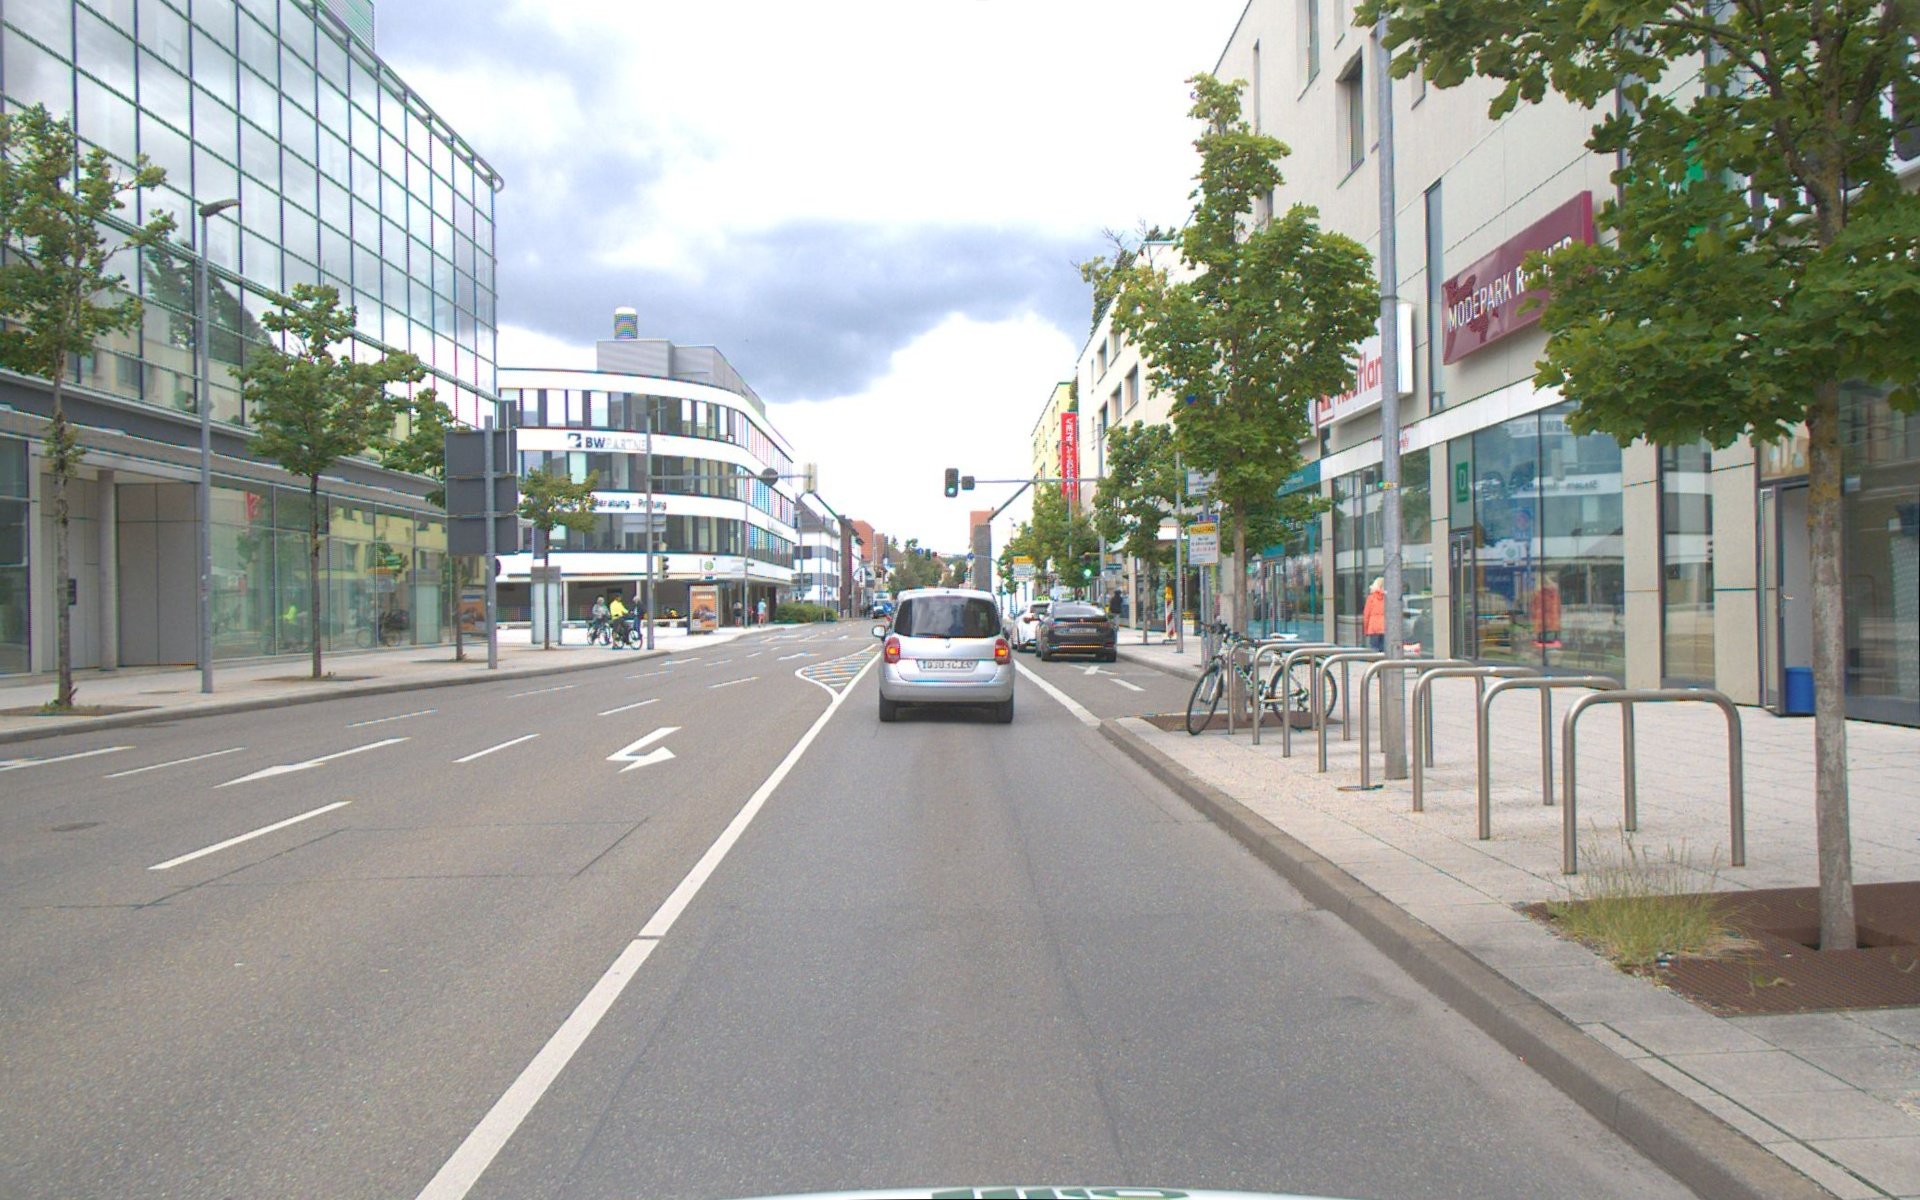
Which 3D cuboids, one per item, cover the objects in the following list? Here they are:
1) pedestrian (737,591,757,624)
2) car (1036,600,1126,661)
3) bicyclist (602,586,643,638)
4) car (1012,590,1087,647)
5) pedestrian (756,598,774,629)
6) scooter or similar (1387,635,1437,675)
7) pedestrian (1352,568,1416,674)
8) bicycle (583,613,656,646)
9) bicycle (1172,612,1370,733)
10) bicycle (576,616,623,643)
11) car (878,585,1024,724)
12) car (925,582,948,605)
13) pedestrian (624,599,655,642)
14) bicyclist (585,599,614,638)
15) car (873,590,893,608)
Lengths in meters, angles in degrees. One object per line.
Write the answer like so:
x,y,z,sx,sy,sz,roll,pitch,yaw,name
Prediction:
-11.964,0.412,92.941,0.941,1.865,1.250,-1,0,-1,pedestrian
2.920,0.708,40.750,1.839,1.358,3.999,1,0,-1,car
-11.225,0.390,54.985,1.000,1.689,0.919,2,-1,-41,bicyclist
2.514,0.495,47.202,1.839,1.535,3.999,1,0,-1,car
-11.828,0.814,100.208,0.941,1.865,1.250,-1,0,-1,pedestrian
6.930,0.838,25.381,0.539,0.555,0.642,-4,0,-1,scooter or similar
6.723,0.327,26.239,0.696,1.601,0.812,-4,0,-1,pedestrian
-11.364,0.969,55.124,1.000,1.036,3.083,2,0,-41,bicycle
3.084,0.708,16.515,1.789,1.093,0.752,-2,0,-3,bicycle
-12.848,1.056,58.889,0.819,0.914,2.496,-1,0,-33,bicycle
-0.190,0.618,20.984,1.636,1.581,3.639,1,0,-3,car
-2.216,-0.590,155.169,2.126,2.049,4.257,-1,0,-1,car
-14.074,0.898,72.721,1.223,1.865,0.962,-2,0,-7,pedestrian
-12.848,0.654,58.883,0.820,1.350,0.644,-1,0,-34,bicyclist
-9.317,-0.126,200.416,2.126,2.049,4.257,-1,0,-1,car
